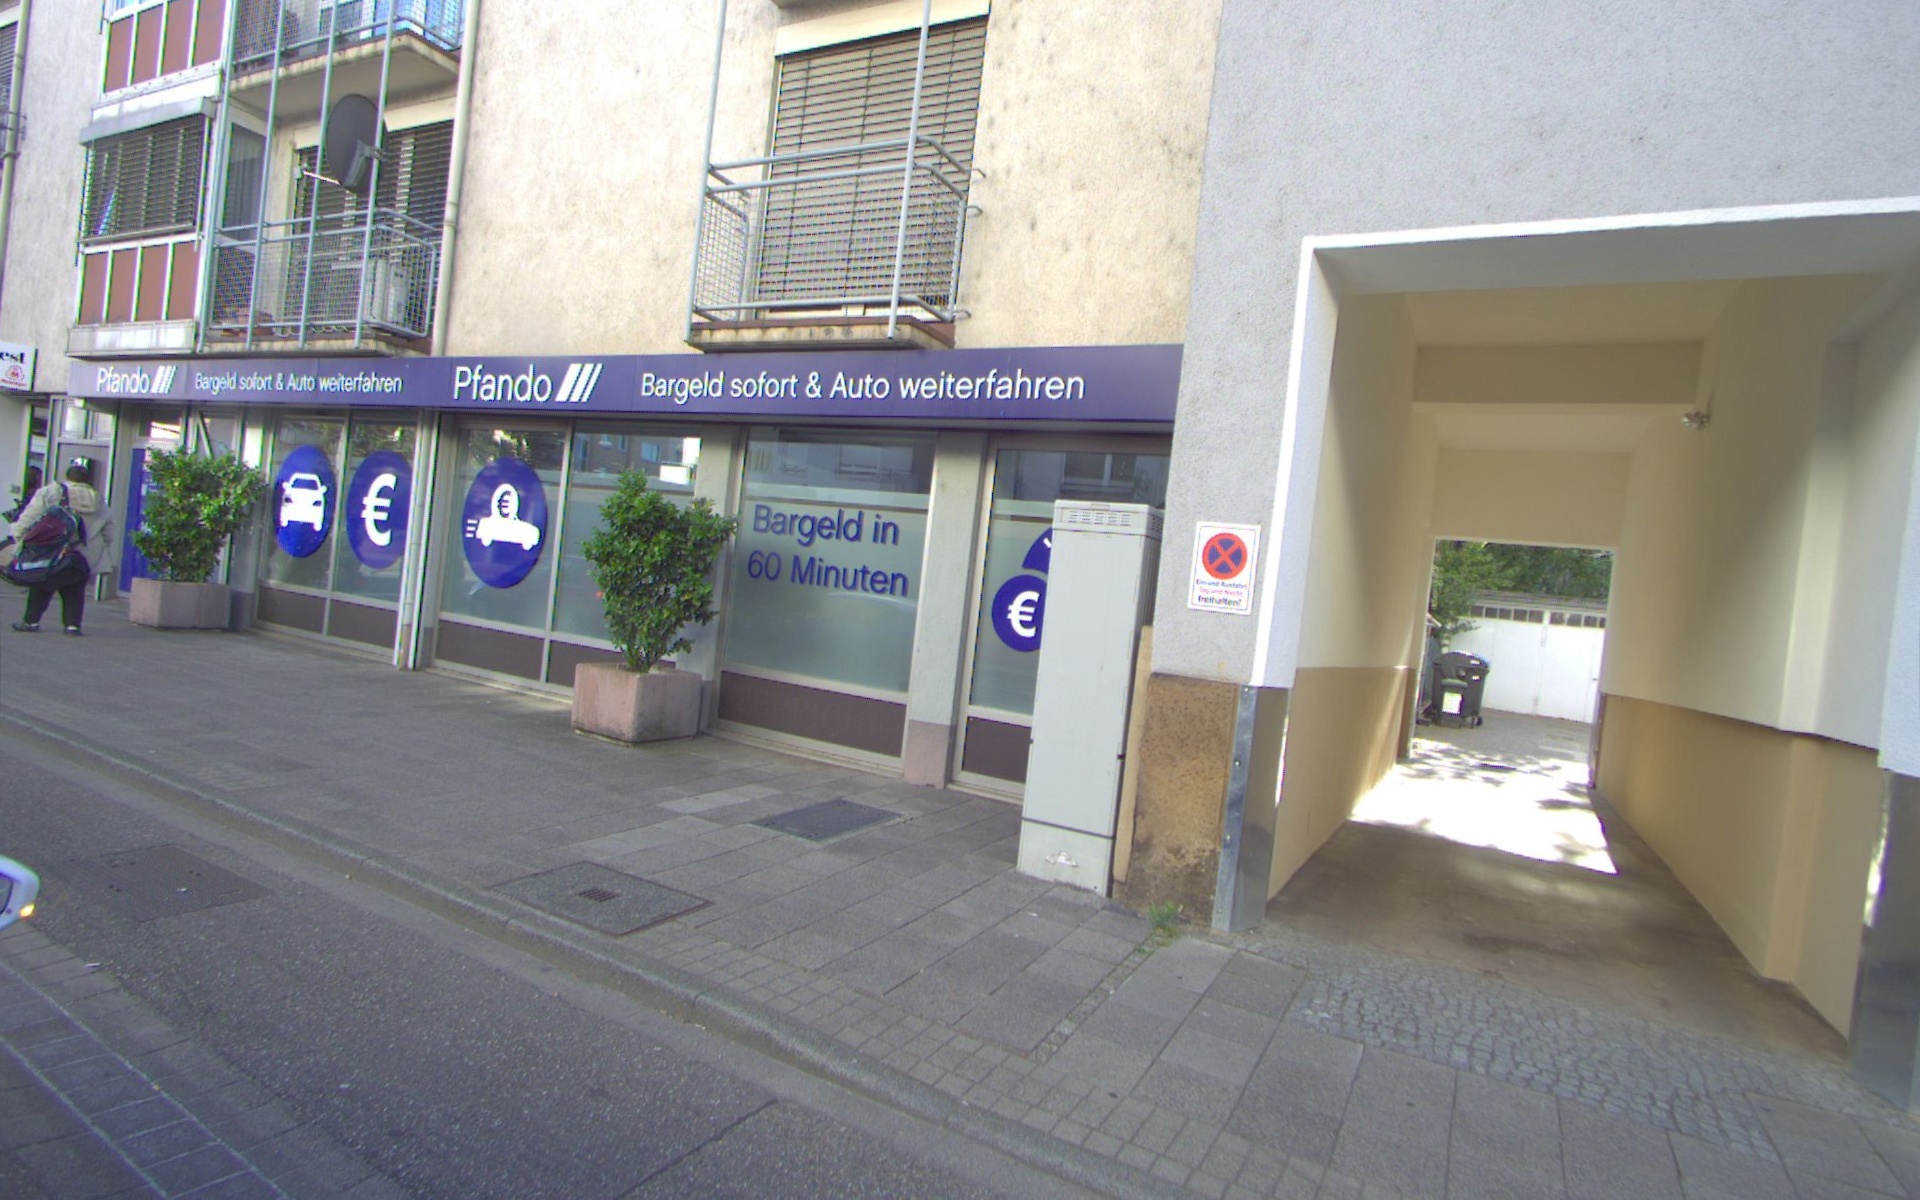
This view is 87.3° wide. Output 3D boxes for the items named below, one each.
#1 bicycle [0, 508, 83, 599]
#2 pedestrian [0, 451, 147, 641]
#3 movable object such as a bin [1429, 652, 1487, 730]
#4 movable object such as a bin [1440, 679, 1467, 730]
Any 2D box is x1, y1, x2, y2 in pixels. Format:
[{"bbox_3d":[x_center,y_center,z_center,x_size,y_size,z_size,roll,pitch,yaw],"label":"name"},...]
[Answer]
[{"bbox_3d":[-11.919,-0.618,12.829,1.678,1.010,0.543,6,-1,32],"label":"bicycle"},{"bbox_3d":[-8.330,-0.489,9.368,0.738,1.611,0.827,6,-1,31],"label":"pedestrian"},{"bbox_3d":[9.932,1.791,20.070,0.873,1.411,0.758,7,2,28],"label":"movable object such as a bin"},{"bbox_3d":[9.530,2.008,19.407,0.365,0.920,0.420,7,2,28],"label":"movable object such as a bin"}]
